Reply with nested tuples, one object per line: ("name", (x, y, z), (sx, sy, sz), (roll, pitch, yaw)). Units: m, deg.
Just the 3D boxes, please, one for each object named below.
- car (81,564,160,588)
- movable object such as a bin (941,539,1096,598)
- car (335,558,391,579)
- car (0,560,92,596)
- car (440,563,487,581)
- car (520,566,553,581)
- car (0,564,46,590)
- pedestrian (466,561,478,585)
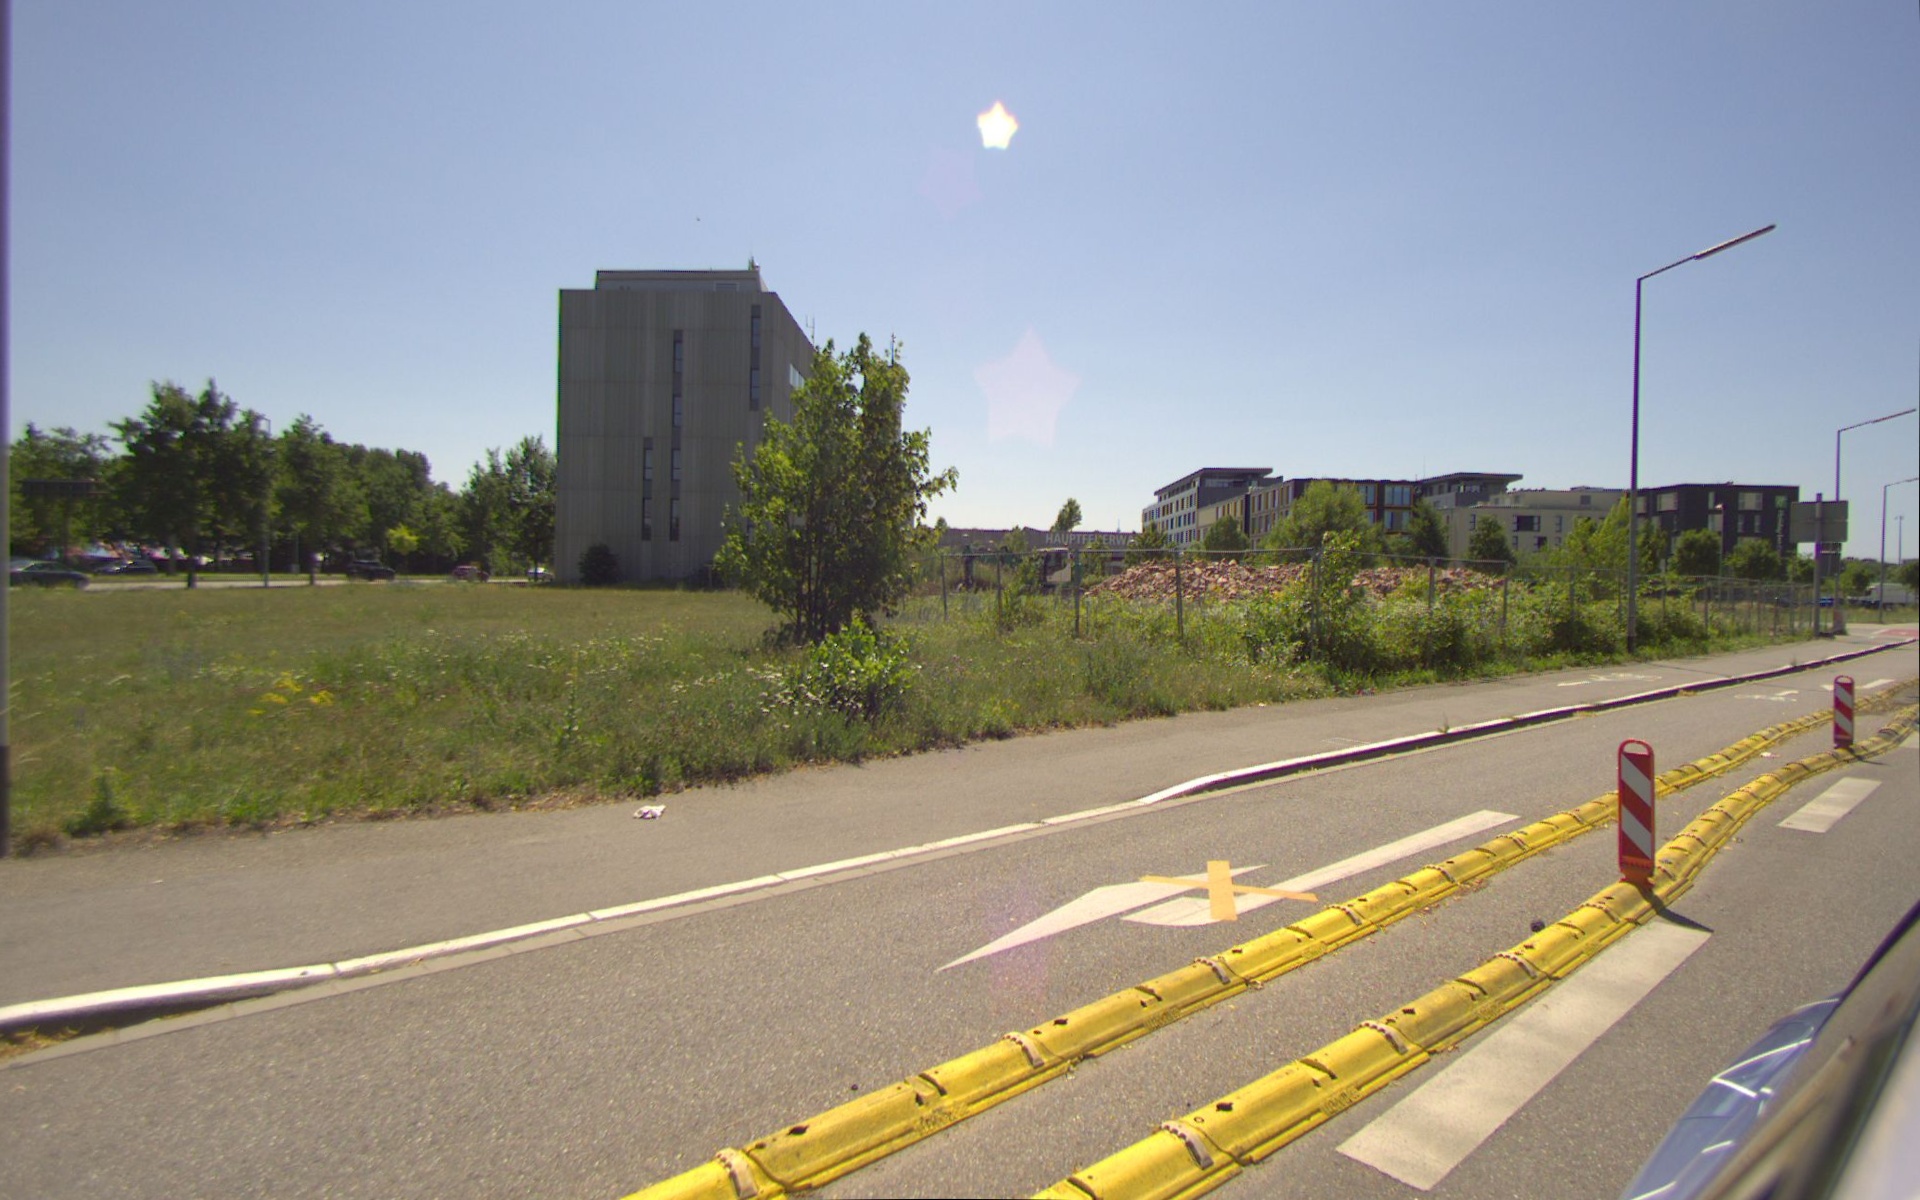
("car", (-59.119, -1.675, 71.384), (1.814, 1.612, 4.443), (0, 0, 1))
("movable object such as a bin", (3.100, -1.596, 53.306), (7.537, 2.952, 3.242), (-1, 0, -26))
("car", (-48.299, -2.539, 81.952), (1.961, 1.615, 4.422), (2, 1, -2))
("car", (-44.976, -1.081, 49.034), (1.963, 1.615, 4.418), (2, 1, 1))
("car", (-44.907, -2.551, 91.587), (1.963, 1.546, 4.417), (0, 0, 2))
("car", (-46.354, -2.897, 110.795), (1.961, 1.546, 4.423), (1, 1, -3))
("car", (-59.612, -1.412, 62.780), (1.814, 1.612, 4.415), (0, 0, 1))
("pedestrian", (-33.772, -1.859, 70.087), (0.652, 1.611, 0.557), (0, 0, -15))
